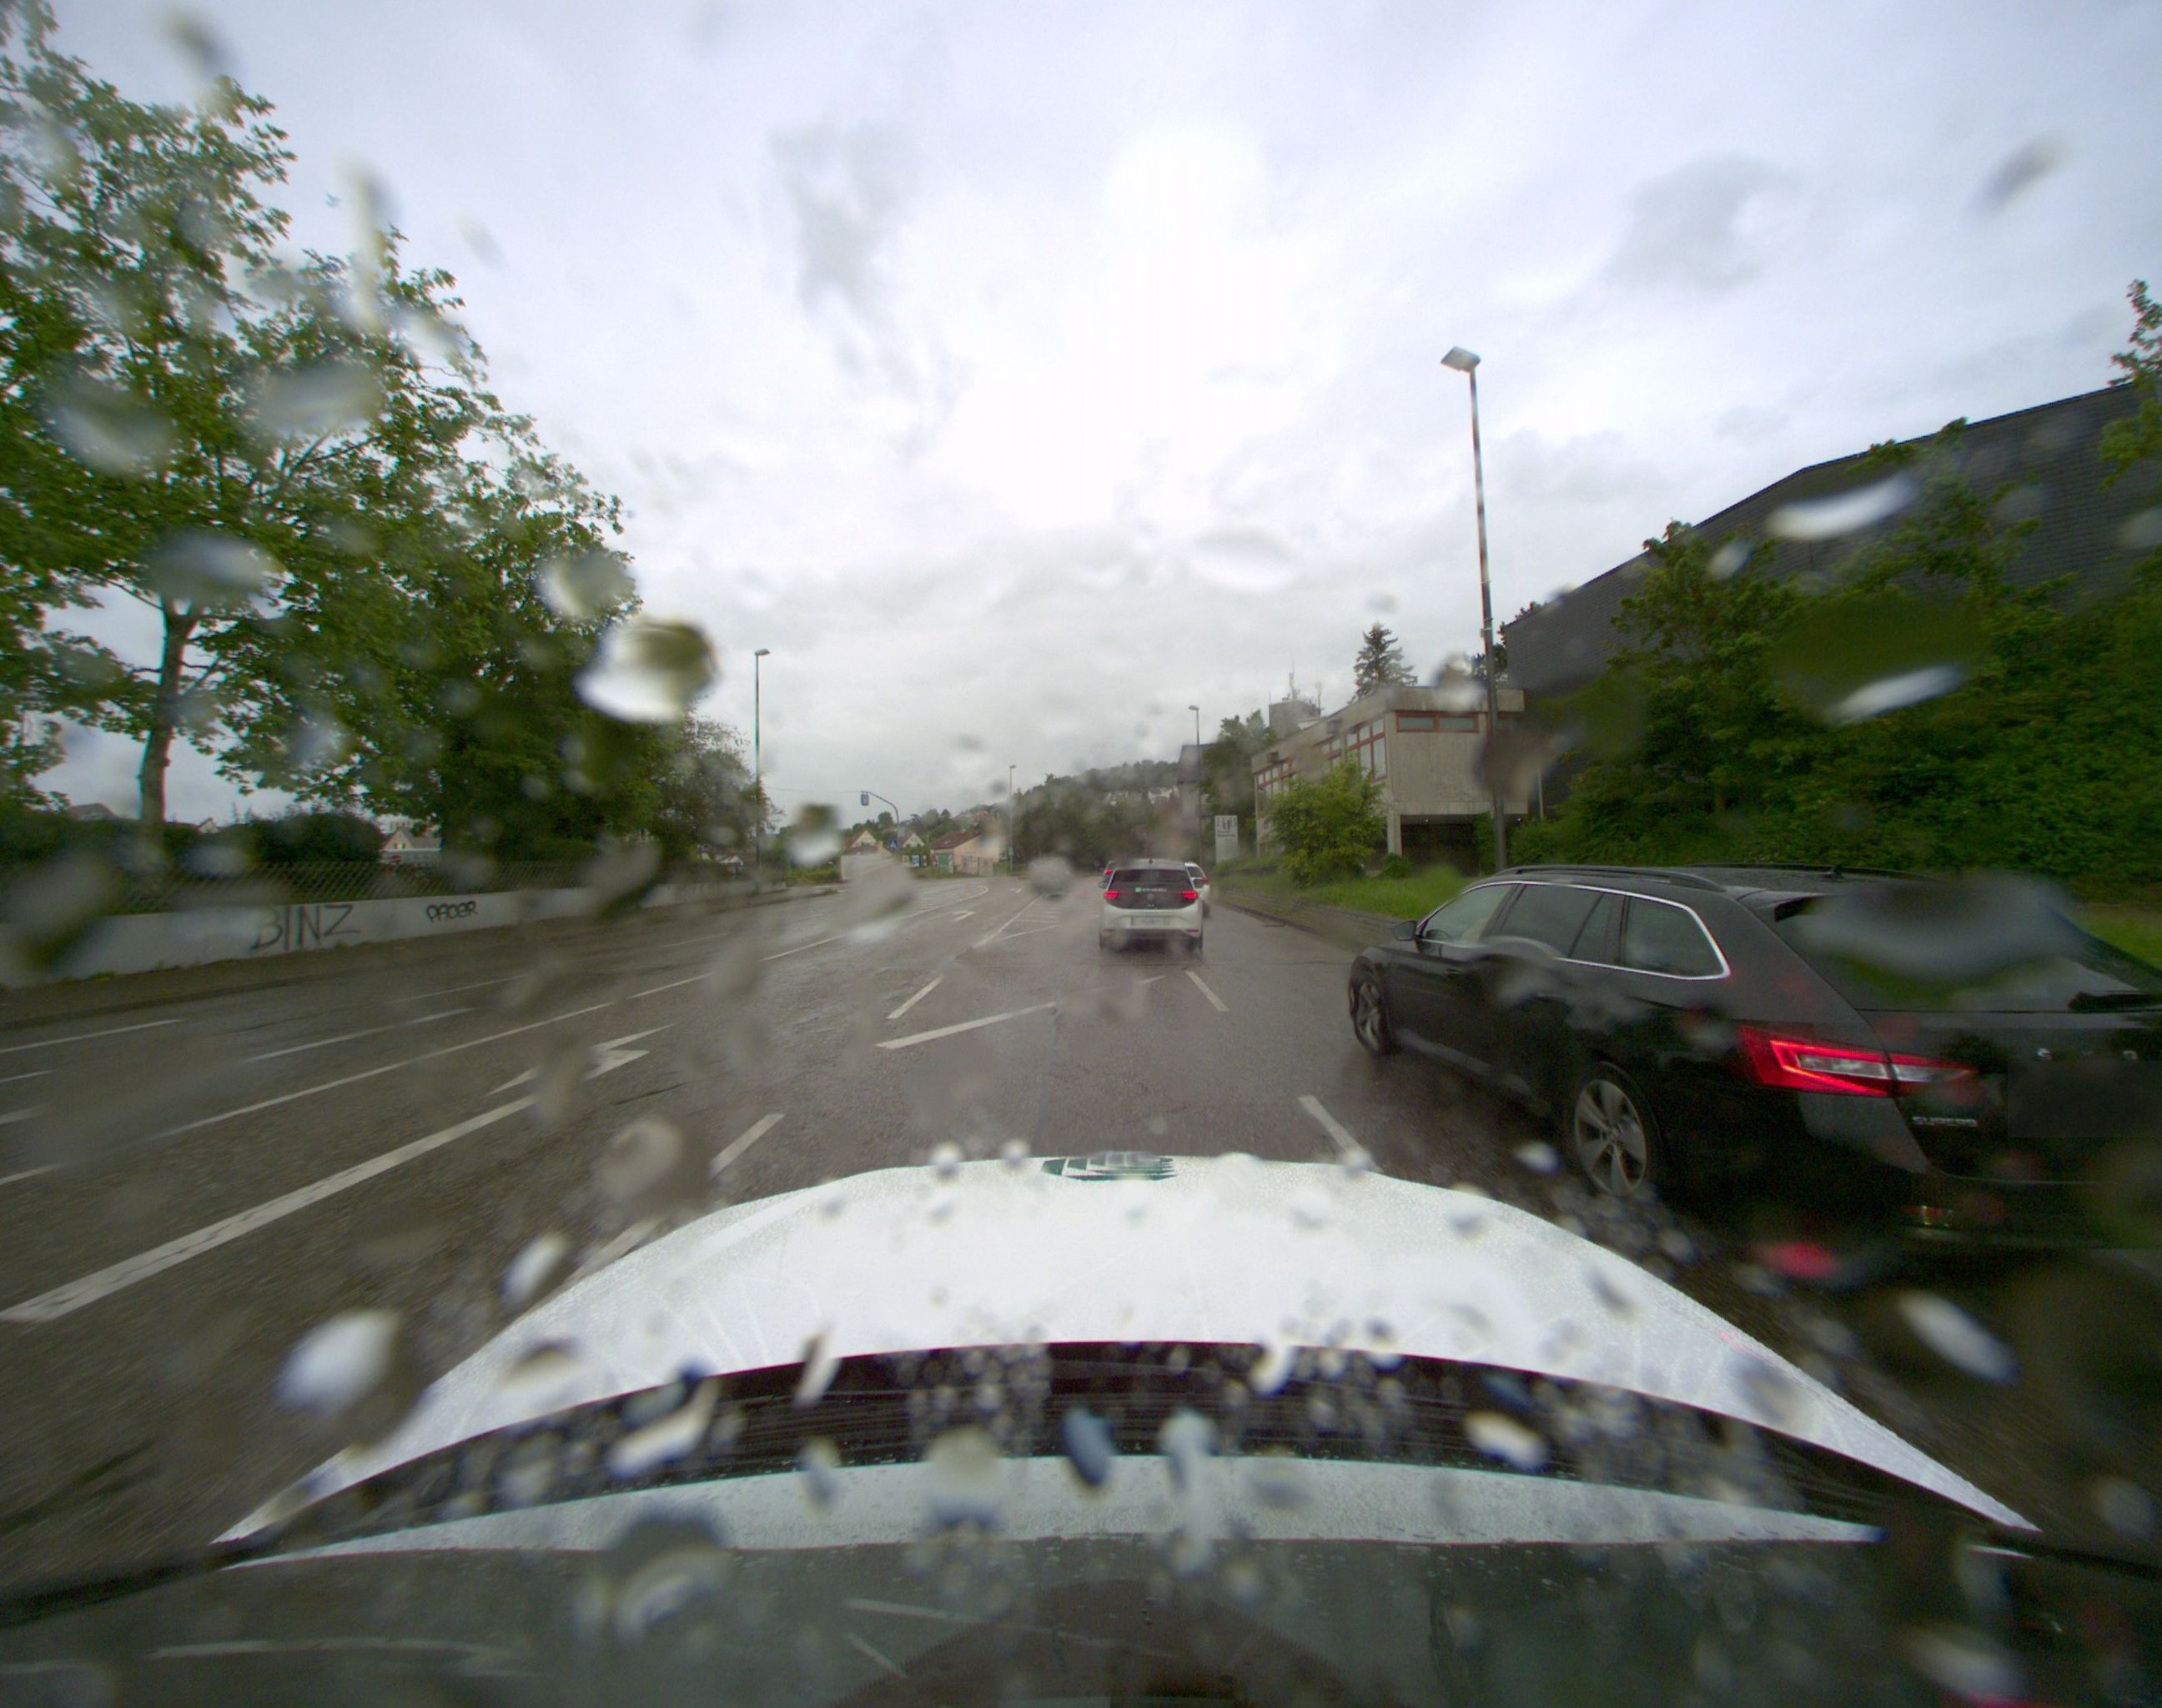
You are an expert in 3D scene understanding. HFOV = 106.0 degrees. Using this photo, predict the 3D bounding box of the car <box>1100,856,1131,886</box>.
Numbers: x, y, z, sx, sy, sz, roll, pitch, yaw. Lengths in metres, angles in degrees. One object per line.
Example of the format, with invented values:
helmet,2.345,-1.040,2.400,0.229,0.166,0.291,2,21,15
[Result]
car,1.851,0.910,44.345,1.561,1.530,4.001,-1,0,2

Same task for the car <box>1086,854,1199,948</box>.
car,1.149,0.809,15.283,1.820,1.500,4.173,-1,-1,4

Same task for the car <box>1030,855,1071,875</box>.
car,-2.684,1.033,72.673,1.977,1.693,4.728,-1,-2,20

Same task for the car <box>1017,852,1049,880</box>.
car,-3.492,0.896,59.752,1.986,2.014,4.002,0,-2,2

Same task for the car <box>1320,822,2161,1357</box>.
car,3.033,0.727,4.646,1.948,1.507,4.606,1,-1,-1

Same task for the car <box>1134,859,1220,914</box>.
car,2.665,0.909,23.626,1.843,1.410,4.297,-1,-1,-2
